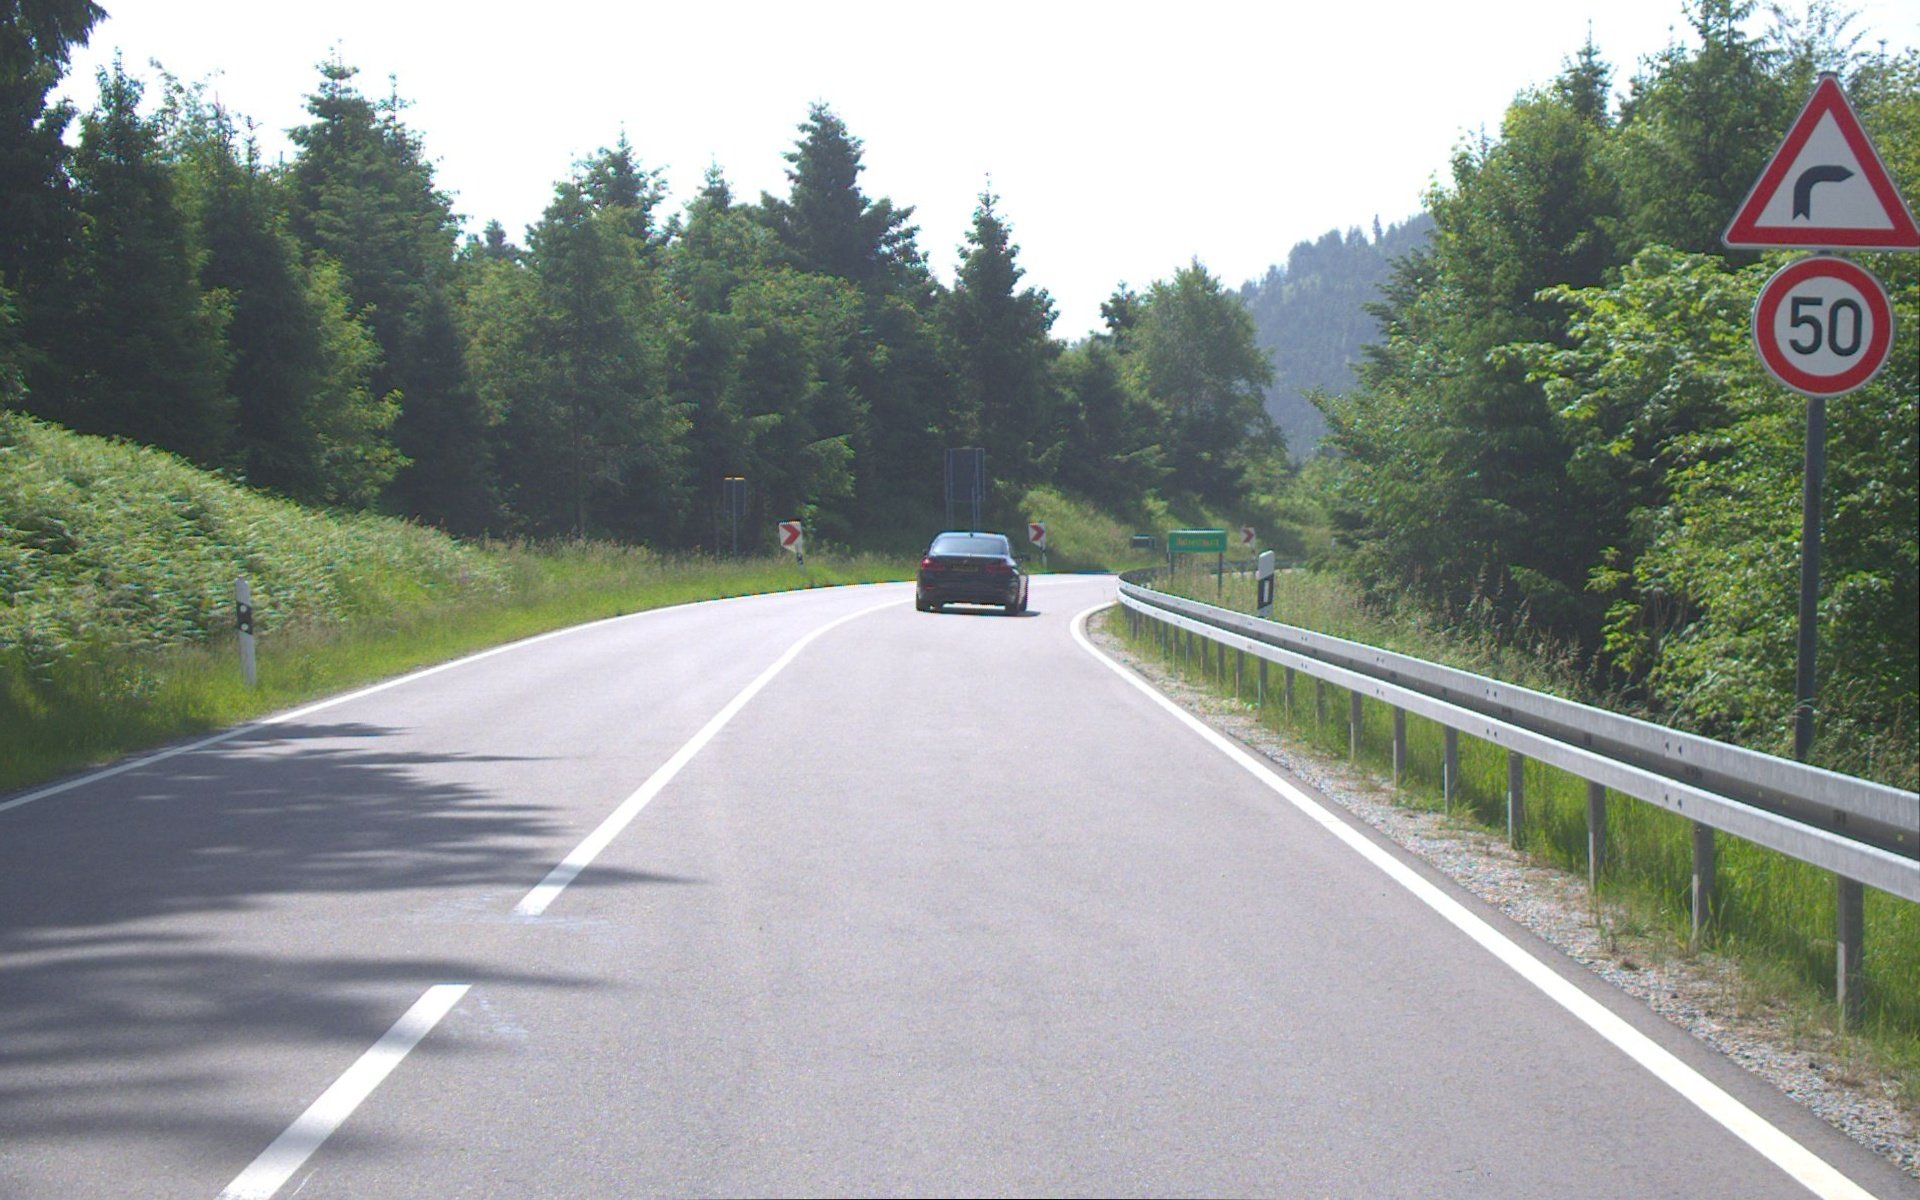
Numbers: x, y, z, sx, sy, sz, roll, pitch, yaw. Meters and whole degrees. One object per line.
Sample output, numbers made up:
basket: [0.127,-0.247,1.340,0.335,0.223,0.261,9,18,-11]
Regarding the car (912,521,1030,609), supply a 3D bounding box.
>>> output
car: [0.231,-0.640,60.957,1.776,1.437,3.708,2,1,4]
